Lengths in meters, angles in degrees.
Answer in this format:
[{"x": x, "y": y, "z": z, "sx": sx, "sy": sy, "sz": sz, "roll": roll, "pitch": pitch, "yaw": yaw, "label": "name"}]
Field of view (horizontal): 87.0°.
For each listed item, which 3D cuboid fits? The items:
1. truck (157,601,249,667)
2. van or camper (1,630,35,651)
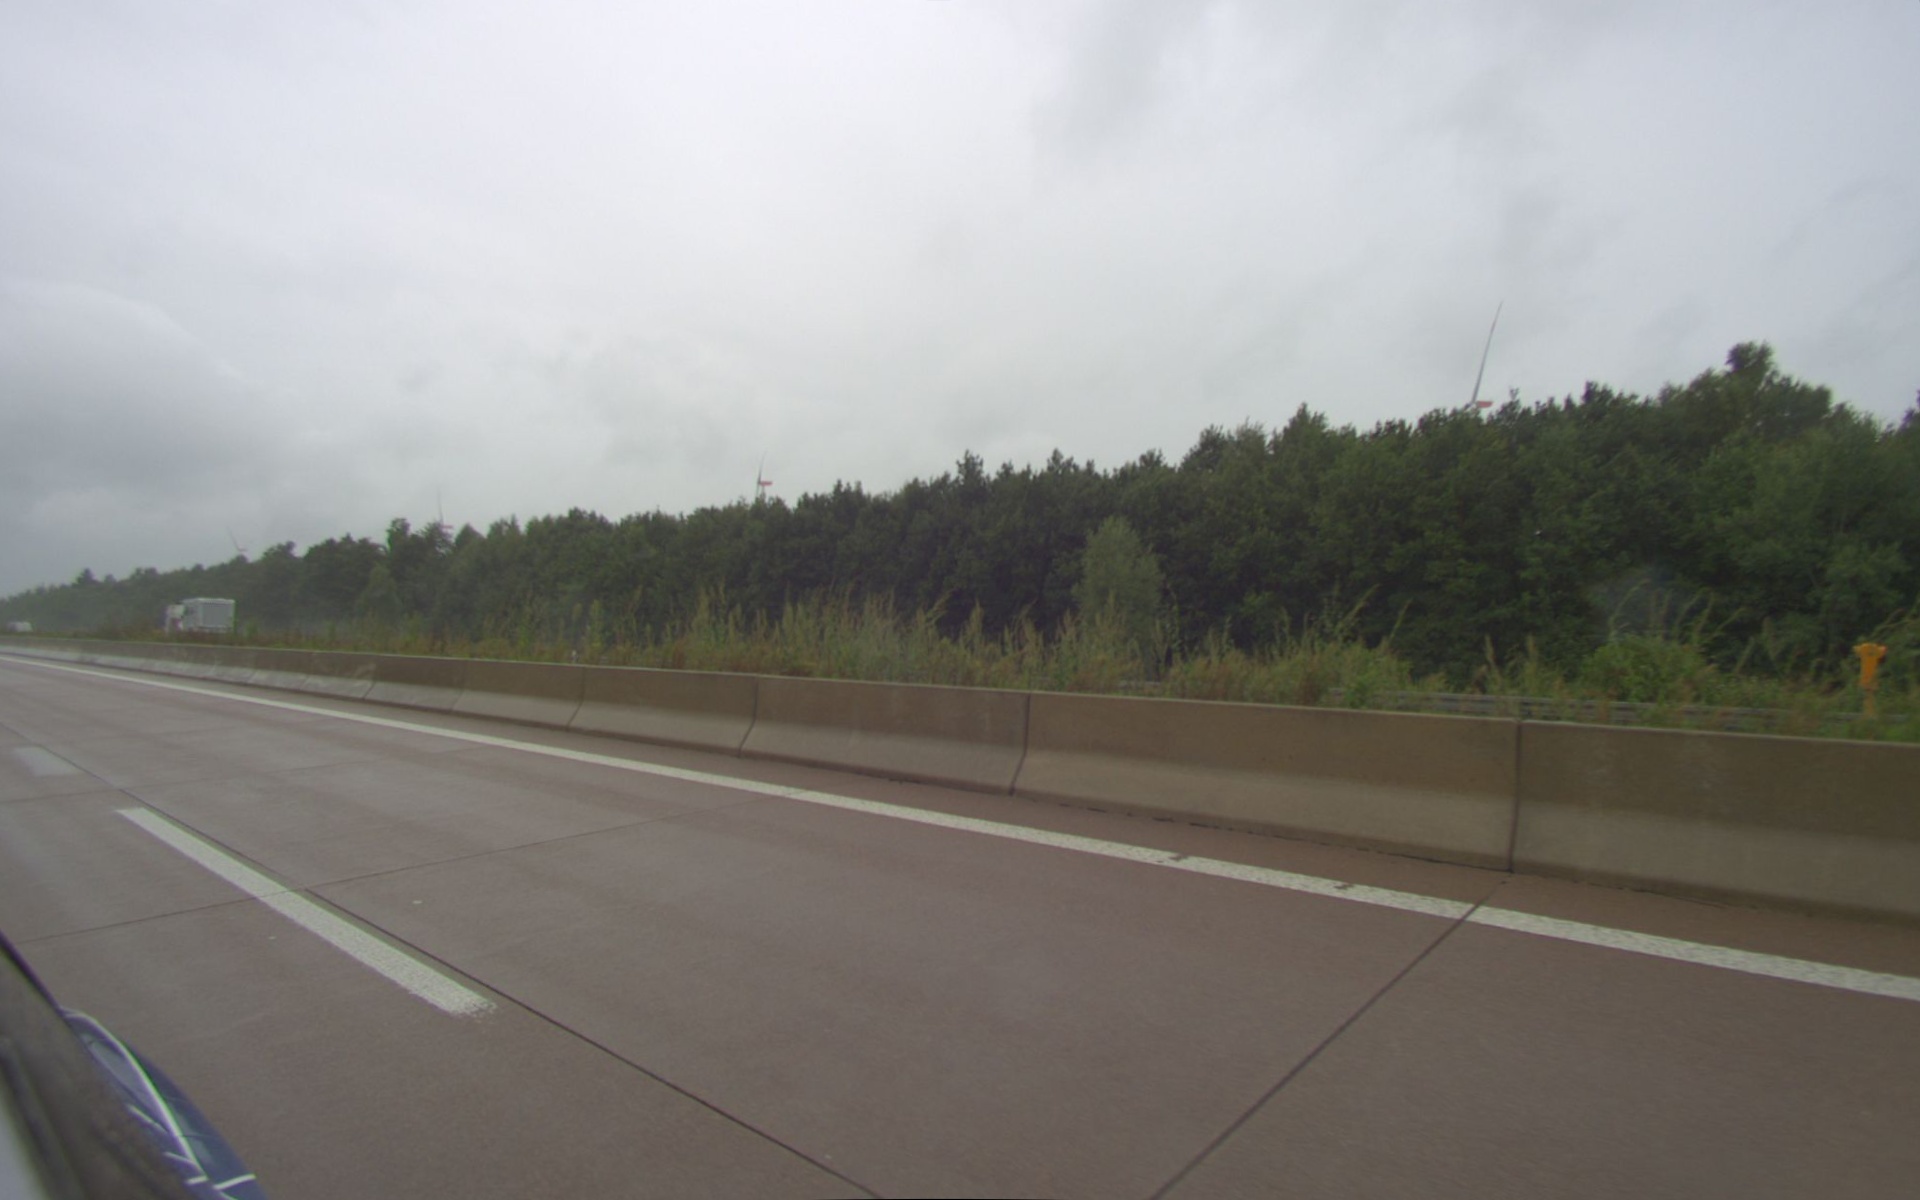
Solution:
[{"x": -55.733, "y": 2.460, "z": 74.421, "sx": 9.548, "sy": 4.505, "sz": 3.115, "roll": -2, "pitch": 0, "yaw": 39, "label": "truck"}, {"x": -110.502, "y": 4.746, "z": 118.681, "sx": 5.716, "sy": 2.222, "sz": 2.108, "roll": -1, "pitch": 2, "yaw": 40, "label": "van or camper"}]
